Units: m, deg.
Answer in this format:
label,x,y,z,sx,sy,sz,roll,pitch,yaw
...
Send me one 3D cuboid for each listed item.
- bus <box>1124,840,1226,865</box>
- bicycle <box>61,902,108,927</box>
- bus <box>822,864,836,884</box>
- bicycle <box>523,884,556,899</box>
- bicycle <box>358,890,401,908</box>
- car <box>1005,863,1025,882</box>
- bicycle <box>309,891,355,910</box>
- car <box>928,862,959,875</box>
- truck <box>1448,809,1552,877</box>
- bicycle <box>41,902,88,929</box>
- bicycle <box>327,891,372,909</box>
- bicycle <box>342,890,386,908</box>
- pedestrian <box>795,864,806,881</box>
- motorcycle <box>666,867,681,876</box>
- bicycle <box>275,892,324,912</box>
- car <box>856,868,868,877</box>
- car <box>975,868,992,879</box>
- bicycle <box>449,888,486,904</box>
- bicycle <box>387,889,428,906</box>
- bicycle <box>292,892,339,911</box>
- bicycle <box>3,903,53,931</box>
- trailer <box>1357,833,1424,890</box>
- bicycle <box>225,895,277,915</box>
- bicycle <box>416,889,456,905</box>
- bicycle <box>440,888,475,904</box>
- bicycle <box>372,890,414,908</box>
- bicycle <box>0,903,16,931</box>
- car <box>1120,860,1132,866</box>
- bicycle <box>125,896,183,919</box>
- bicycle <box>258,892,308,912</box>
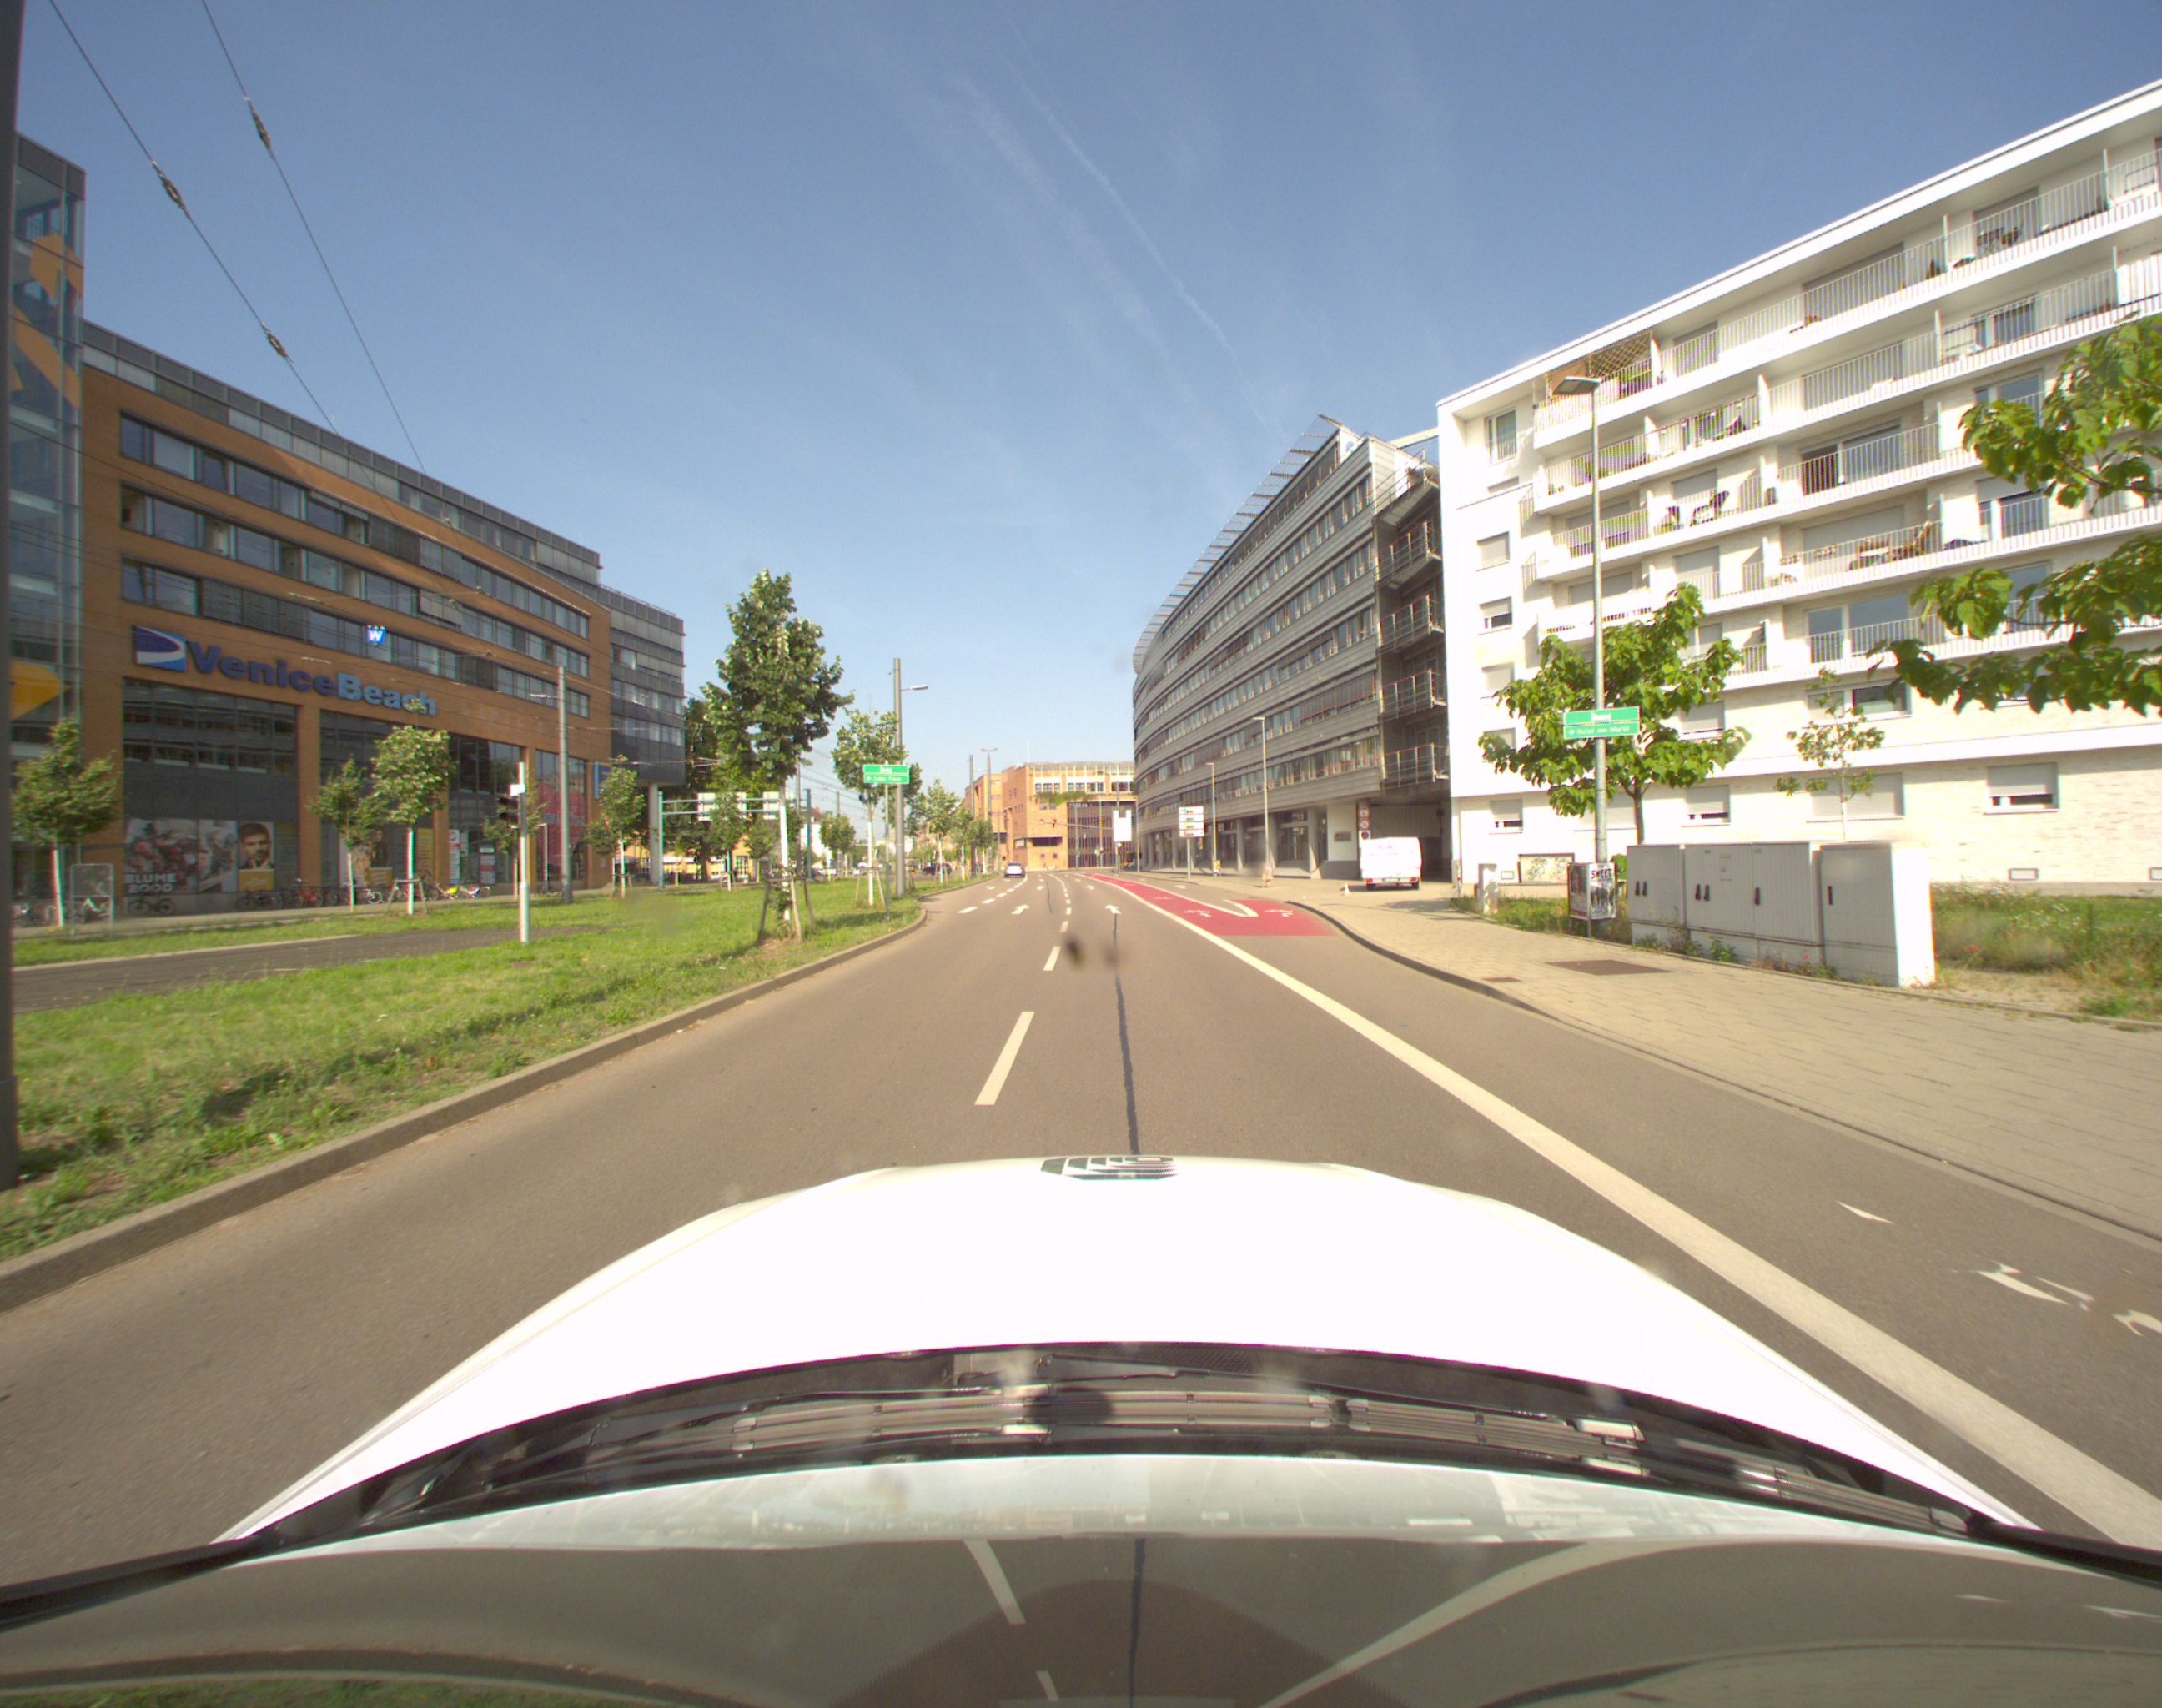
label,x,y,z,sx,sy,sz,roll,pitch,yaw
bus,16.525,-0.230,143.104,17.580,3.811,2.860,-2,-2,-5
bicycle,-38.144,2.315,31.172,1.568,0.940,0.412,-2,-1,11
bus,-53.199,4.207,172.080,2.753,3.922,12.144,-1,-2,-17
bicycle,-33.686,2.326,50.656,1.665,0.907,0.711,-1,-1,10
bicycle,-39.263,2.525,45.572,2.037,0.921,0.574,-2,-1,6
car,-6.154,1.750,76.157,1.701,1.755,3.886,-2,-2,-2
bicycle,-39.480,2.435,42.939,2.037,0.921,0.574,-2,-1,6
car,-19.423,2.024,115.346,1.974,1.678,4.025,-3,-3,39
truck,22.405,-0.618,43.448,6.177,3.097,1.979,-5,0,-33
bicycle,-37.917,2.298,30.367,1.568,0.940,0.412,-2,-1,11
bicycle,-39.373,2.491,43.852,2.037,0.921,0.574,-2,-1,6
bicycle,-39.349,2.493,44.716,2.037,0.921,0.574,-2,-1,6
pedestrian,-32.817,2.171,95.168,1.157,2.014,0.772,-1,-2,-16
motorcycle,-50.759,2.186,101.425,1.691,0.995,0.283,-1,1,-13
bicycle,-39.615,2.432,41.290,2.037,0.921,0.574,-2,-1,6
car,-40.110,3.388,149.404,1.729,1.542,3.436,-1,-2,-9
car,-17.707,3.571,148.272,2.002,2.014,3.968,-1,-2,-23
bicycle,-38.724,2.640,51.393,2.037,0.921,0.574,-2,-1,6
bicycle,-39.175,2.538,47.365,2.037,0.921,0.574,-2,-1,6
bicycle,-39.574,2.437,42.101,2.037,0.921,0.574,-2,-1,6
bicycle,-37.544,2.242,29.041,1.568,0.940,0.412,-2,-1,11
trailer,13.162,0.308,34.404,2.368,2.151,5.982,-2,0,23
bicycle,-39.811,2.448,39.070,2.037,0.921,0.574,-2,-1,6
bicycle,-38.821,2.580,49.012,2.037,0.921,0.574,-2,-1,6
bicycle,-38.772,2.615,50.658,2.037,0.921,0.381,-2,-1,6
bicycle,-39.228,2.564,46.464,2.037,0.921,0.574,-2,-1,6
bicycle,-38.184,2.222,28.514,1.568,0.940,0.412,-2,-1,11
car,7.692,1.512,138.517,1.948,0.958,1.092,0,-3,-5
bicycle,-40.324,2.335,35.424,2.037,0.921,0.574,-2,-1,6
bicycle,-39.675,2.404,40.494,2.037,0.921,0.574,-2,-1,6
